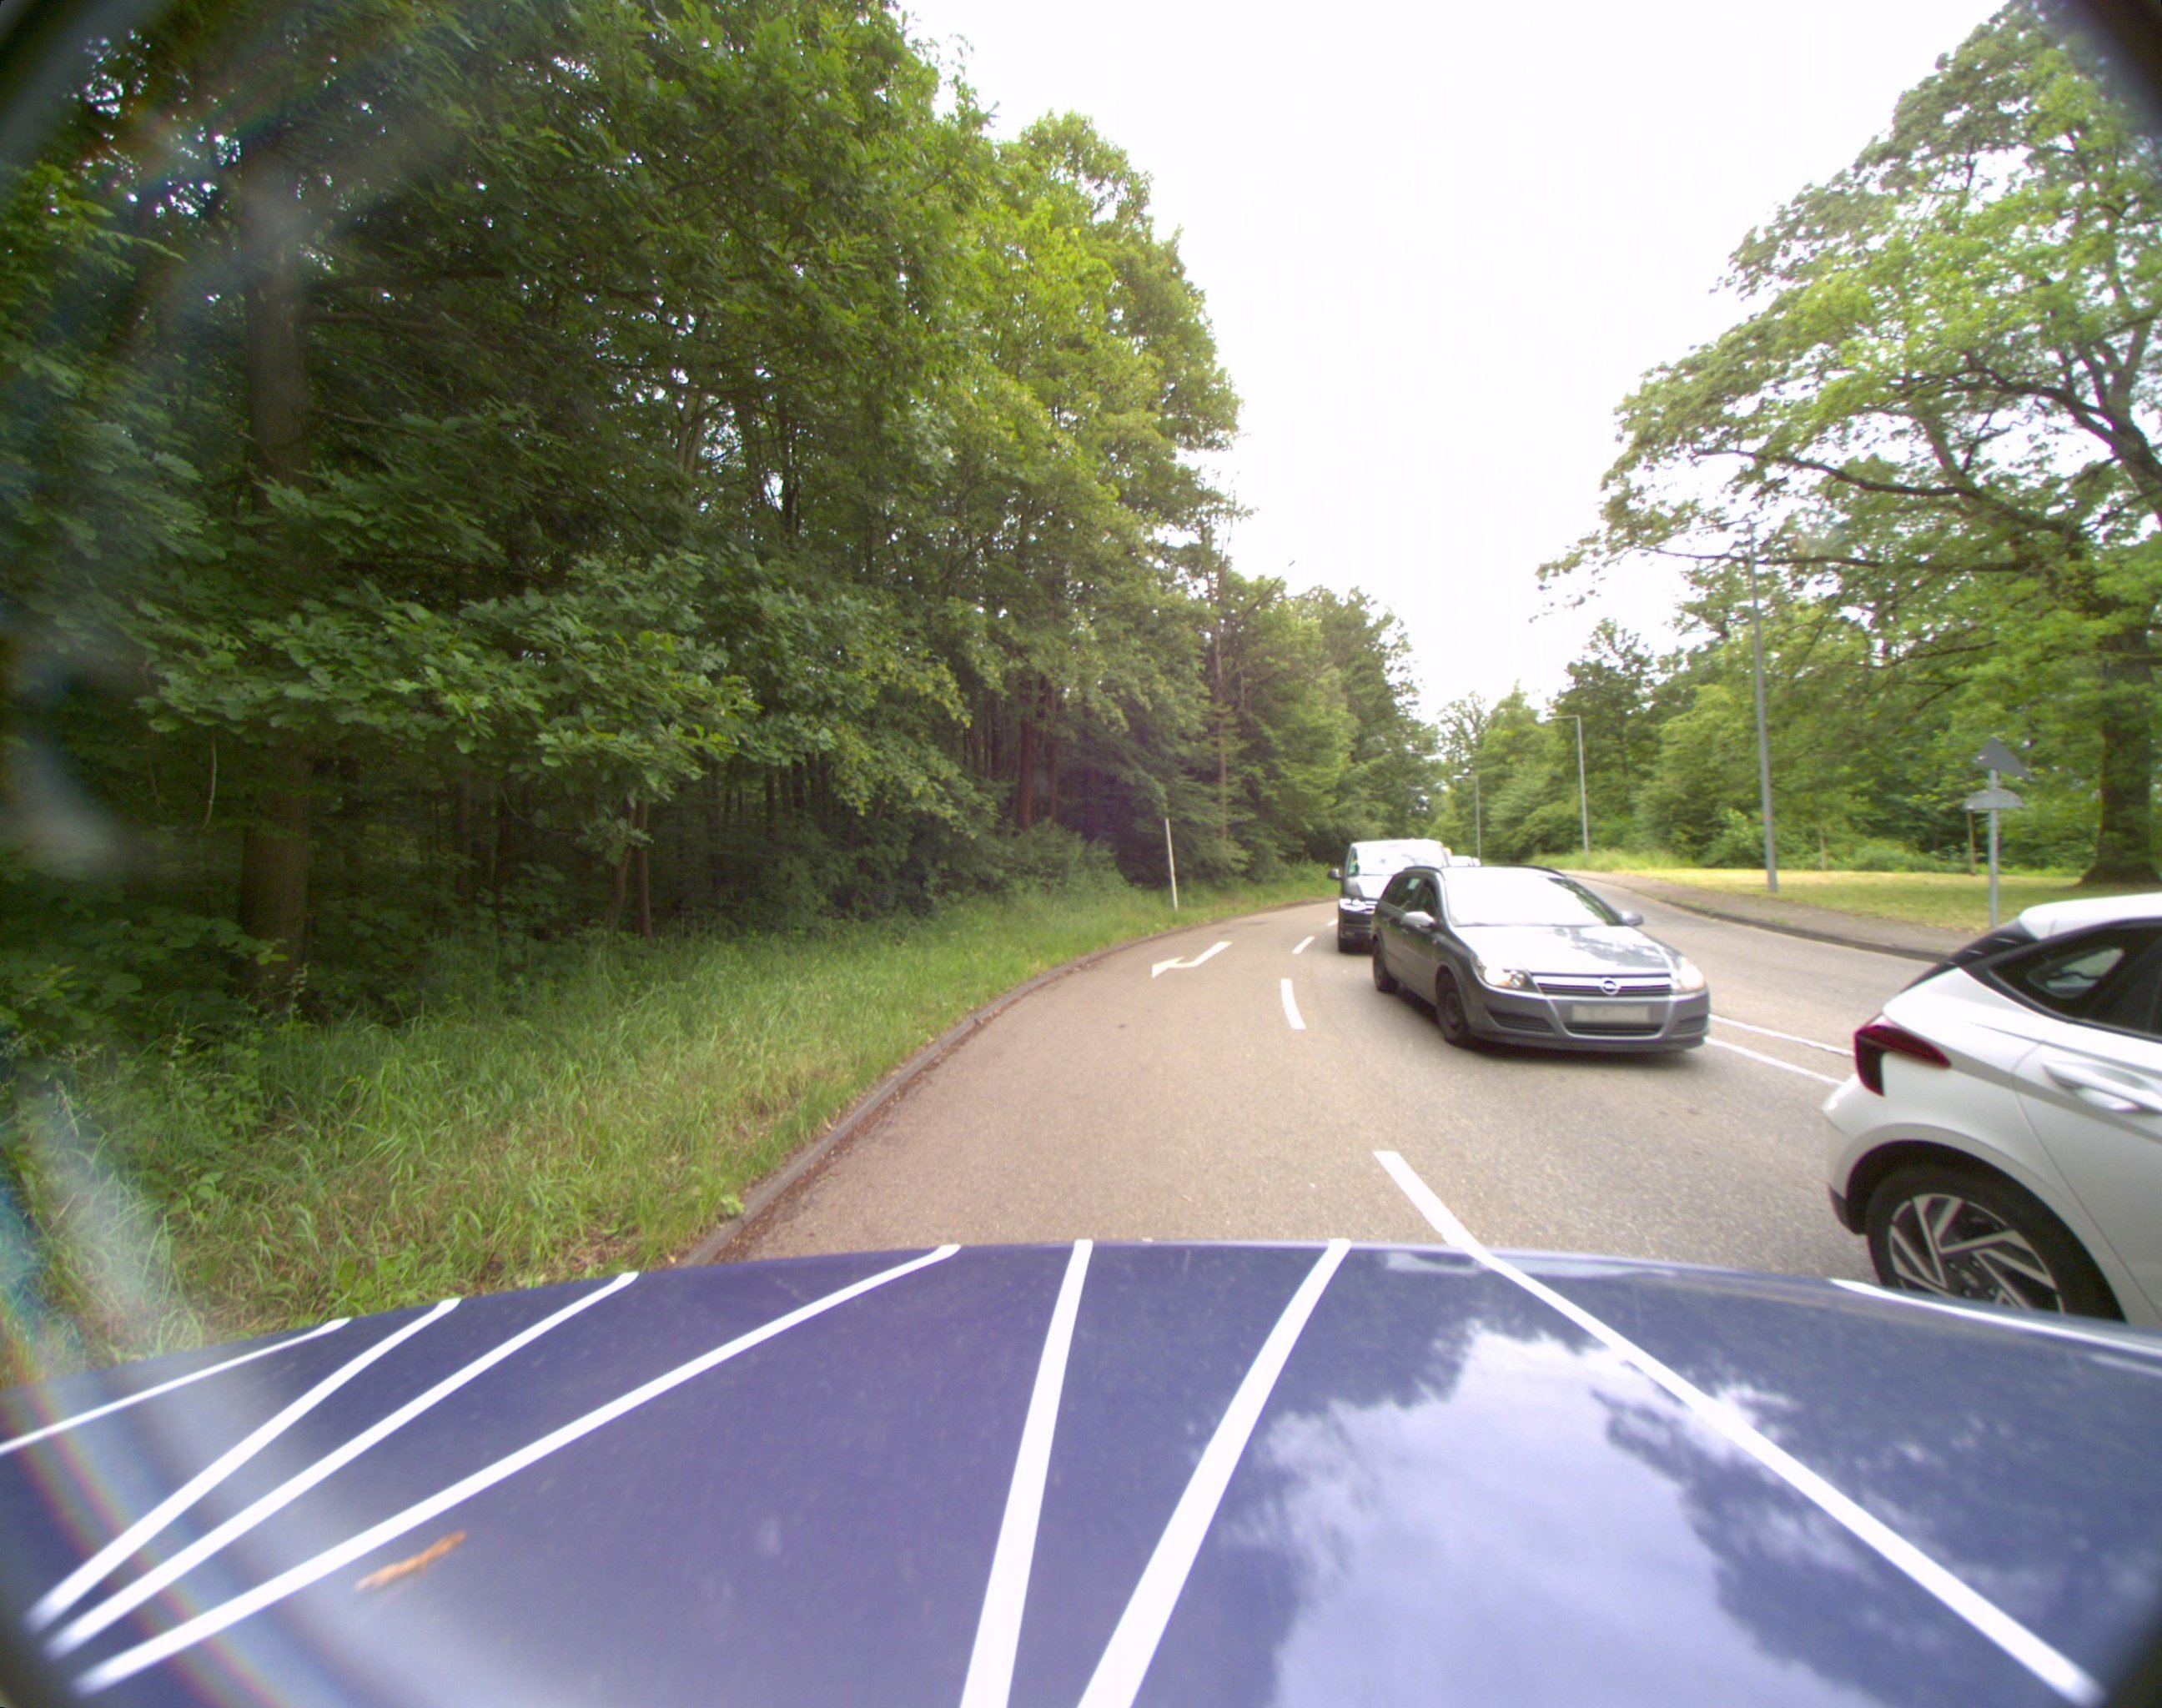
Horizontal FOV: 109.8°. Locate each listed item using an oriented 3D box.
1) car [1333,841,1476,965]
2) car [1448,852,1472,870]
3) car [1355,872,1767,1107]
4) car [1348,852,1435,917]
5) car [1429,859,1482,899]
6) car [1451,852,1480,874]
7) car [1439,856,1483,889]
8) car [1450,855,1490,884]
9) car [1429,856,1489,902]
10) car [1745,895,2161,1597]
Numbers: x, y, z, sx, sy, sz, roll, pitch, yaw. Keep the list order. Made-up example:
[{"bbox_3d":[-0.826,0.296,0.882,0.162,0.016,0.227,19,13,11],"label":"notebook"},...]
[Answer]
[{"bbox_3d":[5.758,0.768,13.828,1.987,1.861,4.539,-1,-1,21],"label":"car"},{"bbox_3d":[34.163,0.629,68.477,1.775,1.490,3.880,-2,-1,28],"label":"car"},{"bbox_3d":[3.977,0.958,7.307,1.801,1.470,4.474,-1,-1,11],"label":"car"},{"bbox_3d":[8.932,0.810,21.667,1.790,1.664,3.998,-2,-1,28],"label":"car"},{"bbox_3d":[15.199,0.990,30.954,1.775,1.490,3.880,-2,-1,25],"label":"car"},{"bbox_3d":[27.642,0.648,54.567,1.775,1.490,3.880,-2,-1,28],"label":"car"},{"bbox_3d":[18.261,0.880,36.654,1.775,1.490,3.880,-2,-1,25],"label":"car"},{"bbox_3d":[20.950,0.815,41.028,1.775,1.490,3.880,-2,-1,25],"label":"car"},{"bbox_3d":[13.440,0.857,27.175,1.775,1.490,3.880,-2,-1,25],"label":"car"},{"bbox_3d":[3.138,0.866,0.669,1.653,1.470,4.074,-1,-1,3],"label":"car"}]
